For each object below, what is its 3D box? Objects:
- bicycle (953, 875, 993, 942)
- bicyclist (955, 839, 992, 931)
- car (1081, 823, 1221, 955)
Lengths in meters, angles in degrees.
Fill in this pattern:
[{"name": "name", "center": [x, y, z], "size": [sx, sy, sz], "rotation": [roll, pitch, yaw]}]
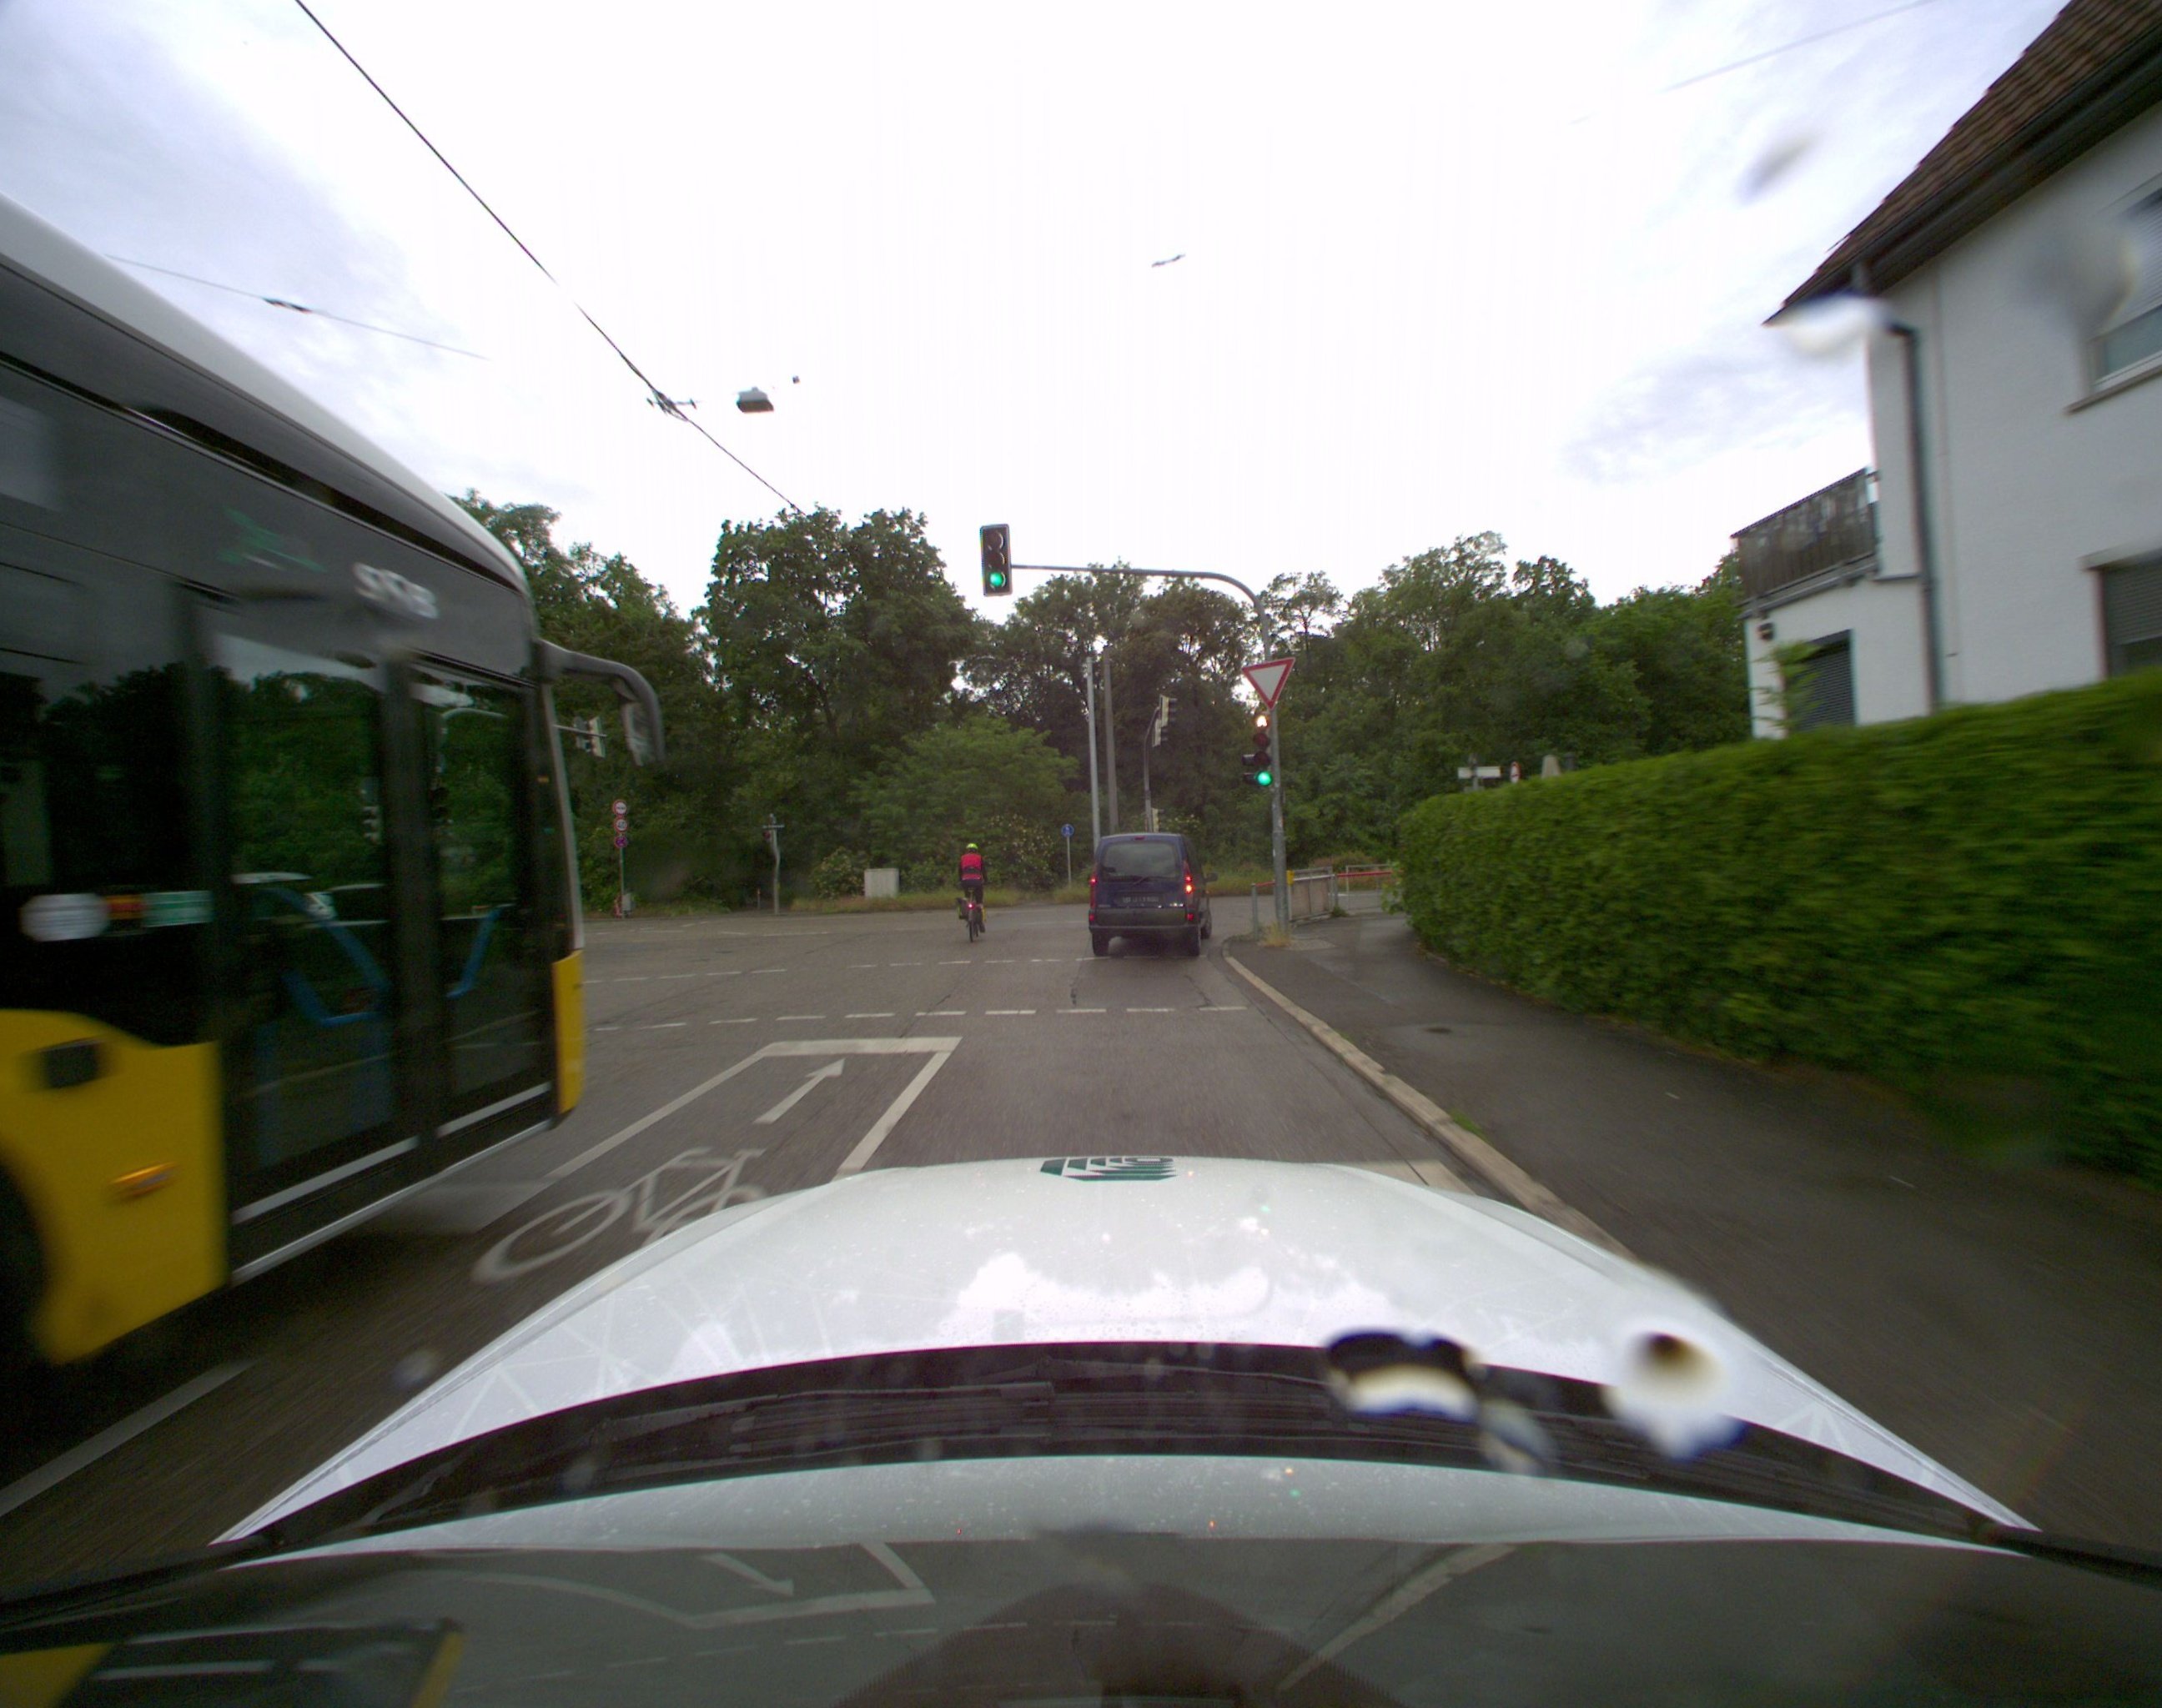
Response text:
[{"name": "bicycle", "center": [-2.010, 0.985, 15.370], "size": [0.577, 1.096, 2.151], "rotation": [-2, 0, -4]}, {"name": "bicyclist", "center": [-2.020, 0.558, 15.396], "size": [0.577, 1.652, 1.047], "rotation": [-2, 0, -5]}, {"name": "car", "center": [1.316, 0.516, 13.488], "size": [1.797, 1.797, 4.012], "rotation": [-3, -1, 11]}]
